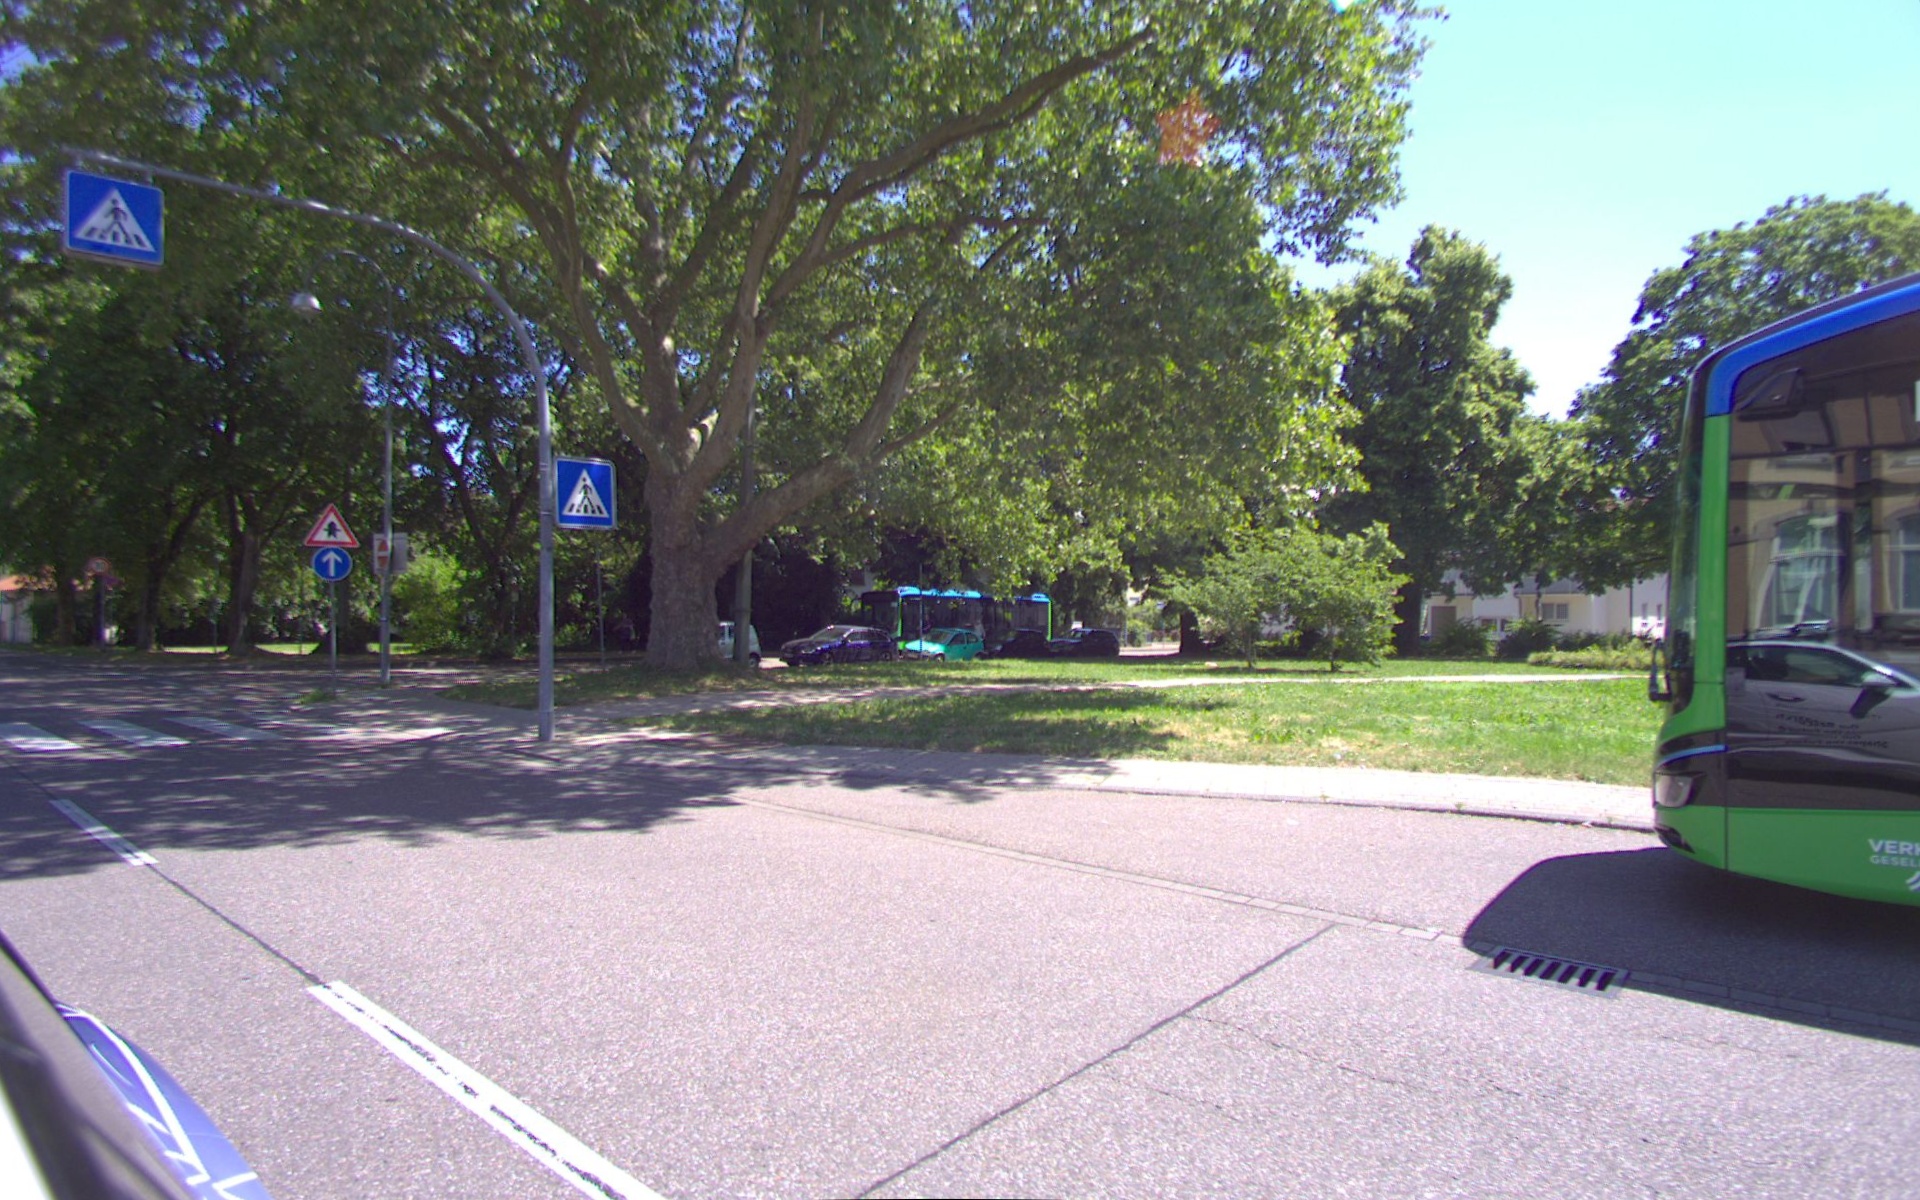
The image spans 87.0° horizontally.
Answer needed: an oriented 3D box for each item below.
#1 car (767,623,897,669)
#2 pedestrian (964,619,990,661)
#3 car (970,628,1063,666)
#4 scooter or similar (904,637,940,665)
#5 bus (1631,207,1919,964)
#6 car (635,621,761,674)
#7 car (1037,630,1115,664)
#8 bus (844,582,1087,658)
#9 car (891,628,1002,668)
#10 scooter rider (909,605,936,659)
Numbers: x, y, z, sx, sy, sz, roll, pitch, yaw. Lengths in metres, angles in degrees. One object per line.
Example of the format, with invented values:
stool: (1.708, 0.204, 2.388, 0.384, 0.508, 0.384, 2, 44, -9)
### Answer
car: (-4.349, 1.546, 34.993, 1.755, 1.450, 4.442, 1, -1, 40)
pedestrian: (0.750, 1.762, 44.598, 0.721, 1.816, 0.929, -1, -2, 37)
car: (2.468, 1.976, 43.323, 1.758, 1.504, 4.317, -1, -2, 40)
scooter or similar: (-1.643, 2.199, 43.829, 0.741, 1.192, 1.498, -2, -2, 42)
bus: (9.009, -0.120, 2.129, 12.416, 3.308, 2.780, -1, -2, 41)
car: (-8.005, 1.419, 31.116, 1.599, 1.508, 3.439, 1, -1, 40)
car: (5.402, 2.131, 46.794, 1.758, 1.504, 3.865, -1, -2, 40)
bus: (0.896, 1.076, 51.137, 2.875, 3.320, 15.736, -1, -2, 40)
car: (-0.462, 1.855, 39.733, 1.755, 1.450, 4.705, -1, -2, 40)
scooter rider: (-1.632, 1.378, 43.857, 0.741, 2.335, 0.914, -2, -2, 42)
